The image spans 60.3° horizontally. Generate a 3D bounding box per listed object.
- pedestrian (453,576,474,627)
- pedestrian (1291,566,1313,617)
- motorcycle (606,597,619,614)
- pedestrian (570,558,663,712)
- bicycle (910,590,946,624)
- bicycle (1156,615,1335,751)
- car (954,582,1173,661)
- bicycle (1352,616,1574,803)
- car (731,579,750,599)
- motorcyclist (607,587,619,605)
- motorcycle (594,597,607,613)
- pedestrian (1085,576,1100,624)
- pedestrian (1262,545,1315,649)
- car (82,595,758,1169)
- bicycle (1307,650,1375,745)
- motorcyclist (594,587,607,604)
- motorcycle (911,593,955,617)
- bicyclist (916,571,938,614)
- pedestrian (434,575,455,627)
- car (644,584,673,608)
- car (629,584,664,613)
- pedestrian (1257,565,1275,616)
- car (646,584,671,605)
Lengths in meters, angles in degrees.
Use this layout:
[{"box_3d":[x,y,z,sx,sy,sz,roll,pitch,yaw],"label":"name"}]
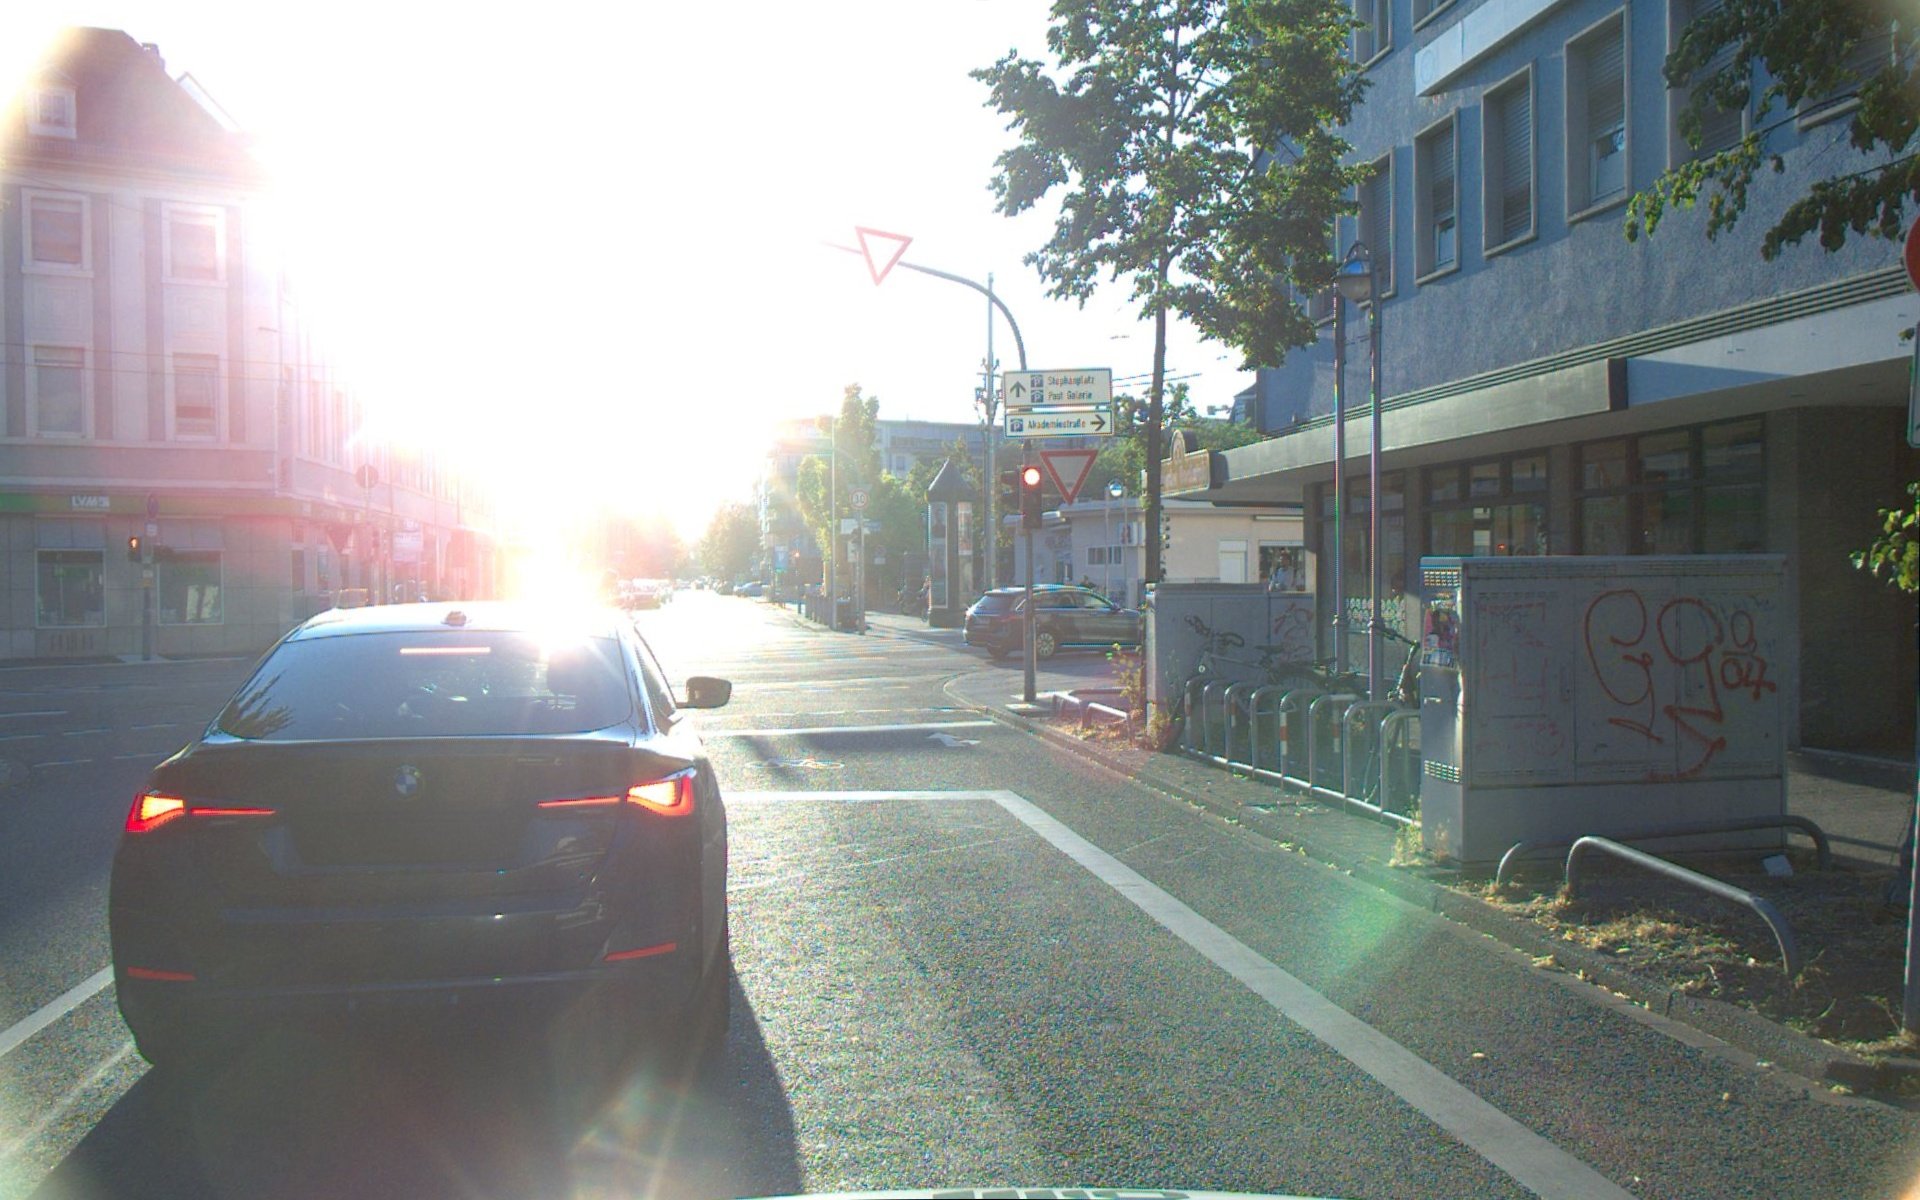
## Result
[{"box_3d":[-18.850,0.045,62.788,0.610,1.909,0.671,1,0,-32],"label":"pedestrian"},{"box_3d":[11.771,-0.299,56.955,0.474,1.765,0.525,1,0,-34],"label":"pedestrian"},{"box_3d":[-19.606,0.294,93.441,0.564,0.931,2.196,1,0,-8],"label":"motorcycle"},{"box_3d":[-4.367,0.424,21.006,0.990,1.893,0.634,-1,1,-29],"label":"pedestrian"},{"box_3d":[-1.140,0.248,59.003,0.542,1.179,2.129,1,0,-23],"label":"bicycle"},{"box_3d":[2.616,0.753,15.178,1.582,1.191,0.318,-1,0,-7],"label":"bicycle"},{"box_3d":[2.176,0.392,34.221,4.368,1.499,1.796,-1,1,-34],"label":"car"},{"box_3d":[3.443,0.745,11.350,1.413,1.241,0.383,1,0,-8],"label":"bicycle"},{"box_3d":[-21.839,-1.105,164.697,1.738,1.881,3.994,-1,1,-7],"label":"car"},{"box_3d":[-19.588,-0.246,93.340,0.564,1.013,0.701,1,0,-9],"label":"motorcyclist"},{"box_3d":[-20.404,0.279,93.822,0.564,0.931,2.196,1,0,-8],"label":"motorcycle"},{"box_3d":[4.339,-0.007,54.199,0.461,1.555,0.735,1,0,2],"label":"pedestrian"},{"box_3d":[5.999,-0.054,30.183,0.818,1.874,0.679,-1,0,22],"label":"pedestrian"},{"box_3d":[-1.747,0.716,6.447,1.705,1.453,4.214,0,0,-10],"label":"car"},{"box_3d":[3.541,0.892,15.407,0.244,0.810,1.114,1,0,-7],"label":"bicycle"},{"box_3d":[-20.396,-0.262,93.843,0.564,0.931,2.196,1,0,-8],"label":"motorcyclist"},{"box_3d":[-1.120,0.208,67.902,1.644,0.955,0.851,-1,1,-20],"label":"motorcycle"},{"box_3d":[-1.176,-0.258,59.097,0.542,1.507,0.717,1,0,-23],"label":"bicyclist"},{"box_3d":[-19.355,0.039,62.065,0.631,1.909,0.630,1,0,-9],"label":"pedestrian"},{"box_3d":[-20.526,-0.305,112.670,1.784,1.545,3.992,-1,1,-9],"label":"car"},{"box_3d":[-17.855,-0.110,94.350,1.784,1.545,3.992,-1,1,-9],"label":"car"},{"box_3d":[10.643,-0.320,57.584,0.438,1.765,0.429,1,0,-34],"label":"pedestrian"},{"box_3d":[-23.353,-0.452,128.161,1.784,1.545,3.992,-1,1,-9],"label":"car"}]
